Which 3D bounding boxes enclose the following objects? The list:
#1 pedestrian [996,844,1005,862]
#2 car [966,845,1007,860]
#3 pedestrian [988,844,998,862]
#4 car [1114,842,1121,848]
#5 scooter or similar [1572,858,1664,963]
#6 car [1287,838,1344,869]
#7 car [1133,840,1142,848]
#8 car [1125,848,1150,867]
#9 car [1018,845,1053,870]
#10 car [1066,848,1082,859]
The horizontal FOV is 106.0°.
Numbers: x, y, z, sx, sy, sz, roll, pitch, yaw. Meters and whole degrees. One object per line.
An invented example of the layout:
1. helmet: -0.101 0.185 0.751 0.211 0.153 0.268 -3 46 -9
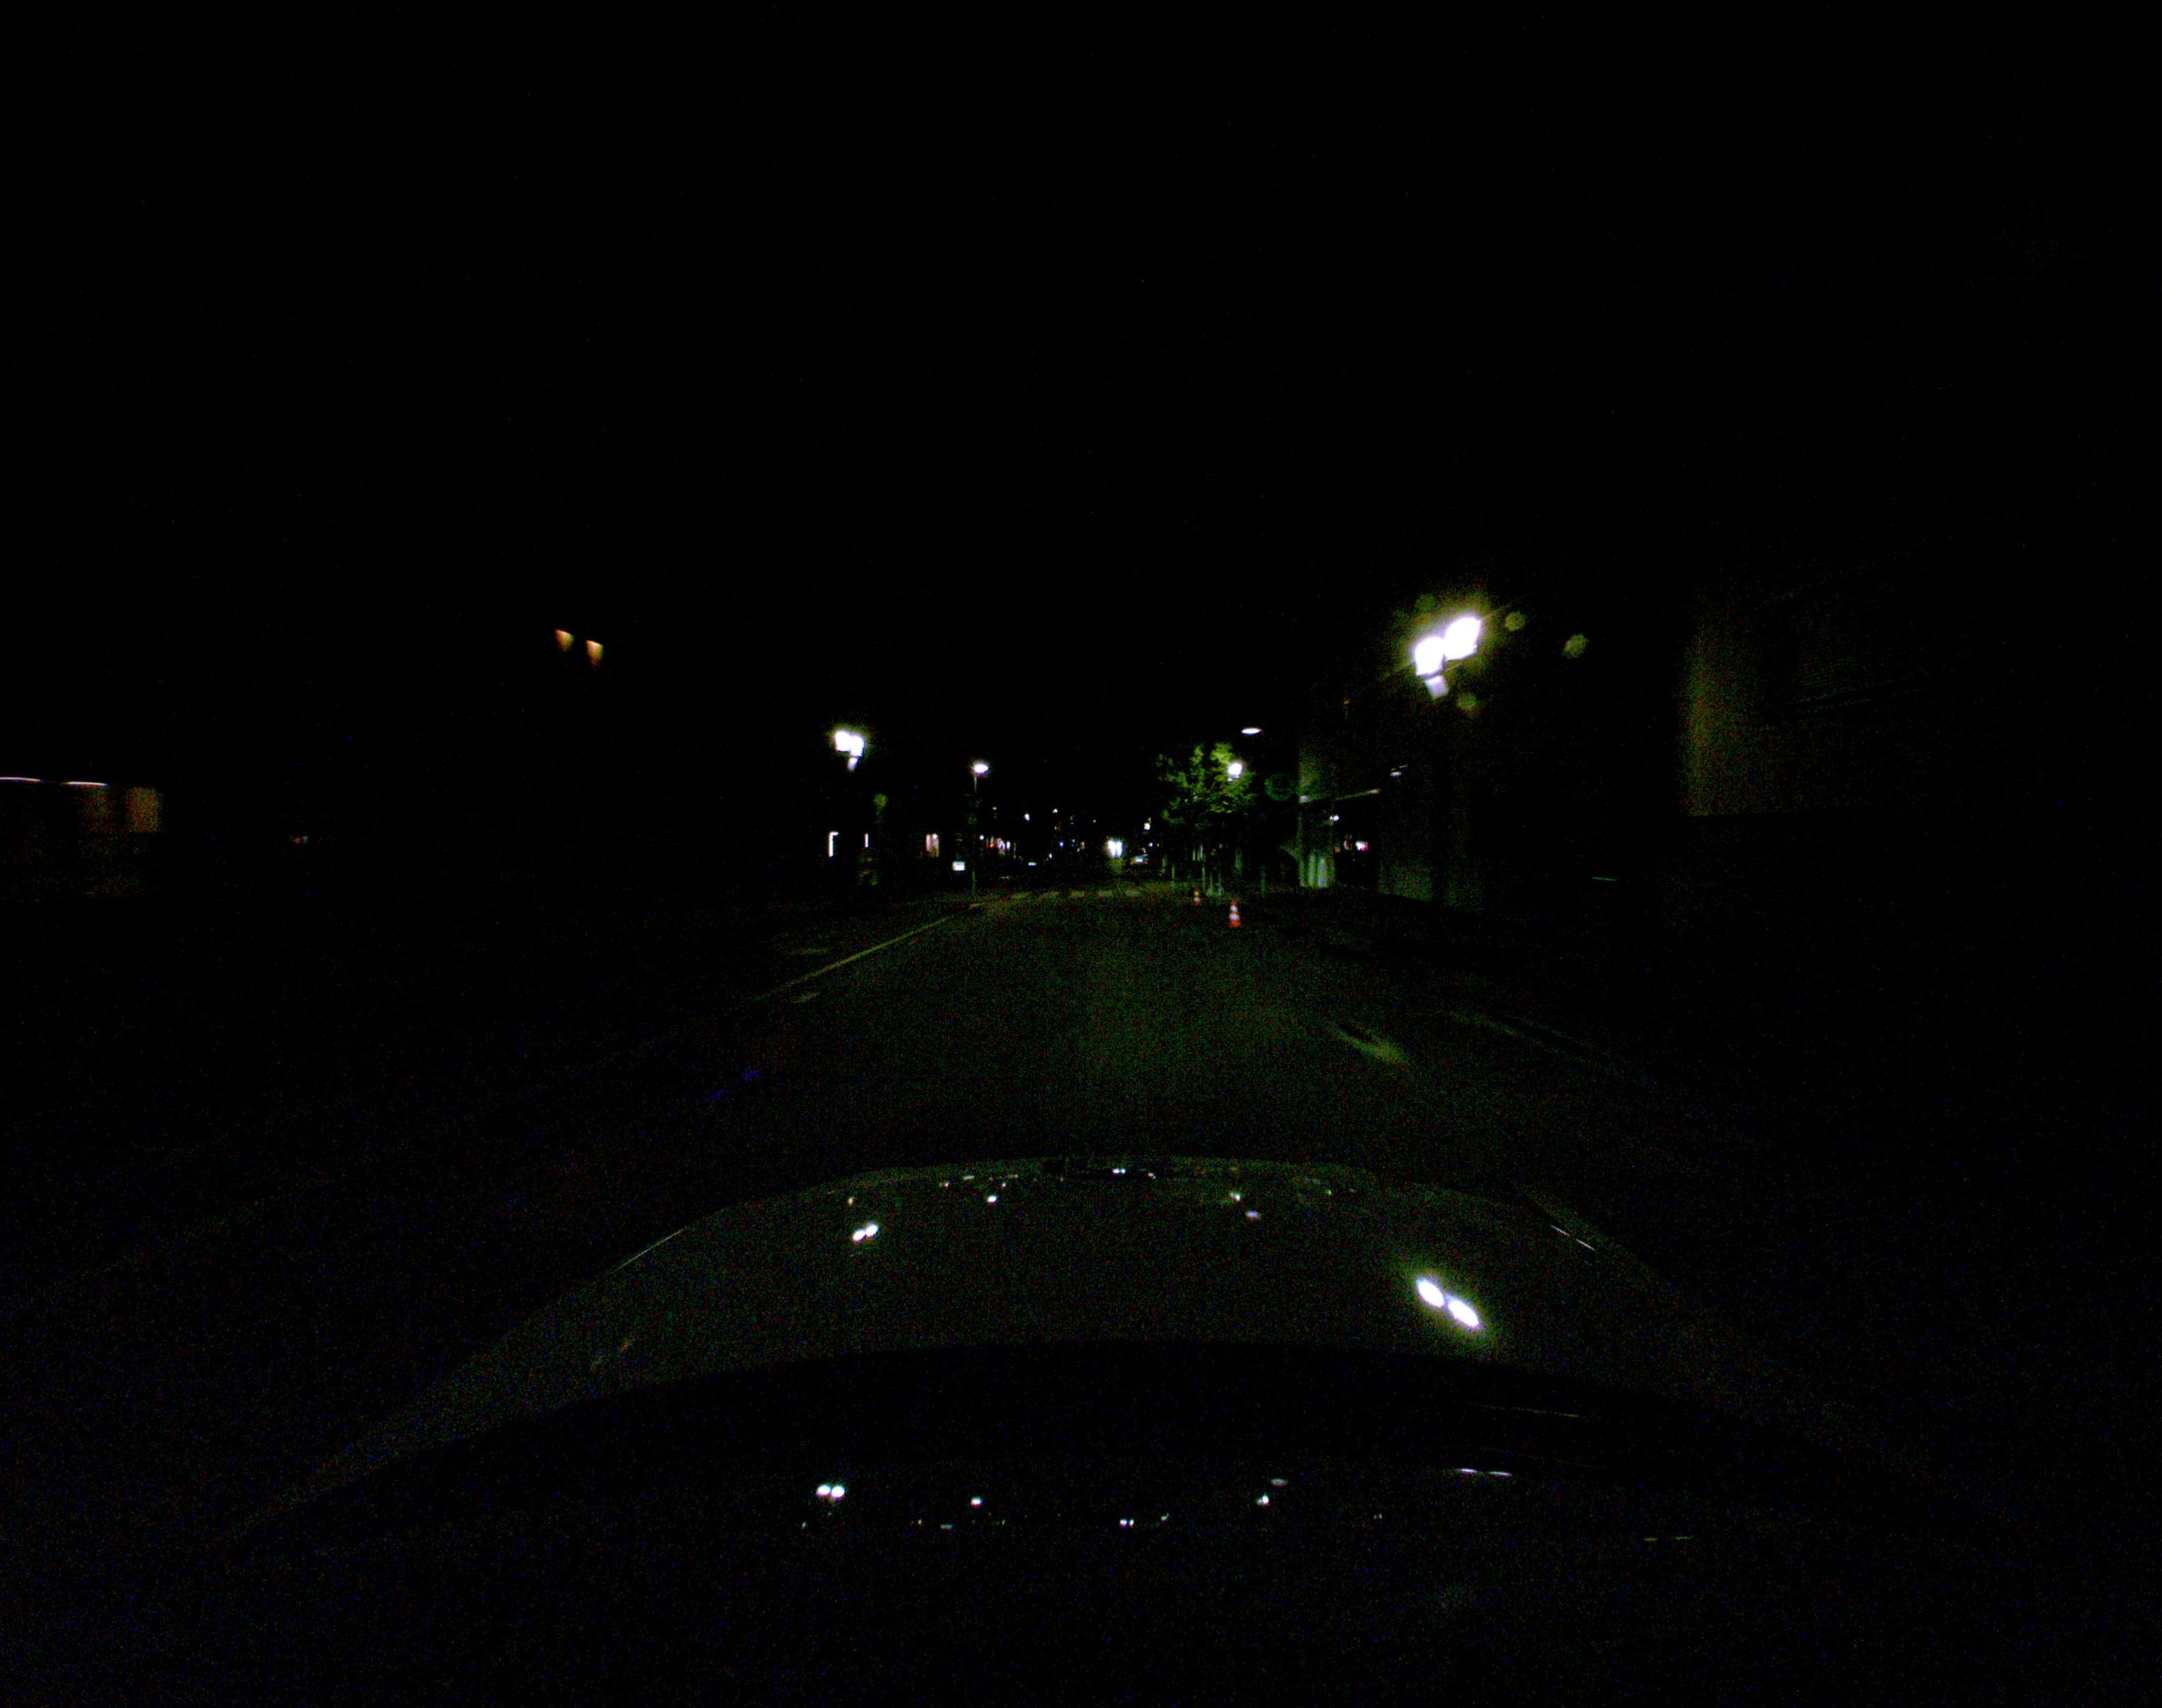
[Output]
1. pedestrian: -7.875 -0.100 80.005 0.766 1.655 0.783 -1 2 3
2. car: -10.352 -0.197 89.473 4.147 1.438 1.844 -3 0 5
3. pedestrian: -8.652 -0.096 80.040 0.766 1.655 0.818 -1 2 3
4. car: 8.662 -2.117 192.883 1.716 1.246 4.241 -1 1 3
5. scooter or similar: 6.945 0.701 10.591 0.371 1.277 1.306 -1 -1 3
6. car: 12.367 -0.004 43.252 1.799 1.460 4.057 -5 -1 1
7. car: 11.481 -2.054 166.285 1.768 1.652 4.369 -1 1 4
8. car: 4.442 0.260 64.391 1.669 1.459 3.676 -1 1 0
9. car: -3.257 0.194 59.081 2.009 1.691 5.007 1 1 3
10. car: -0.944 -0.031 112.900 1.906 1.370 4.463 -1 1 4
